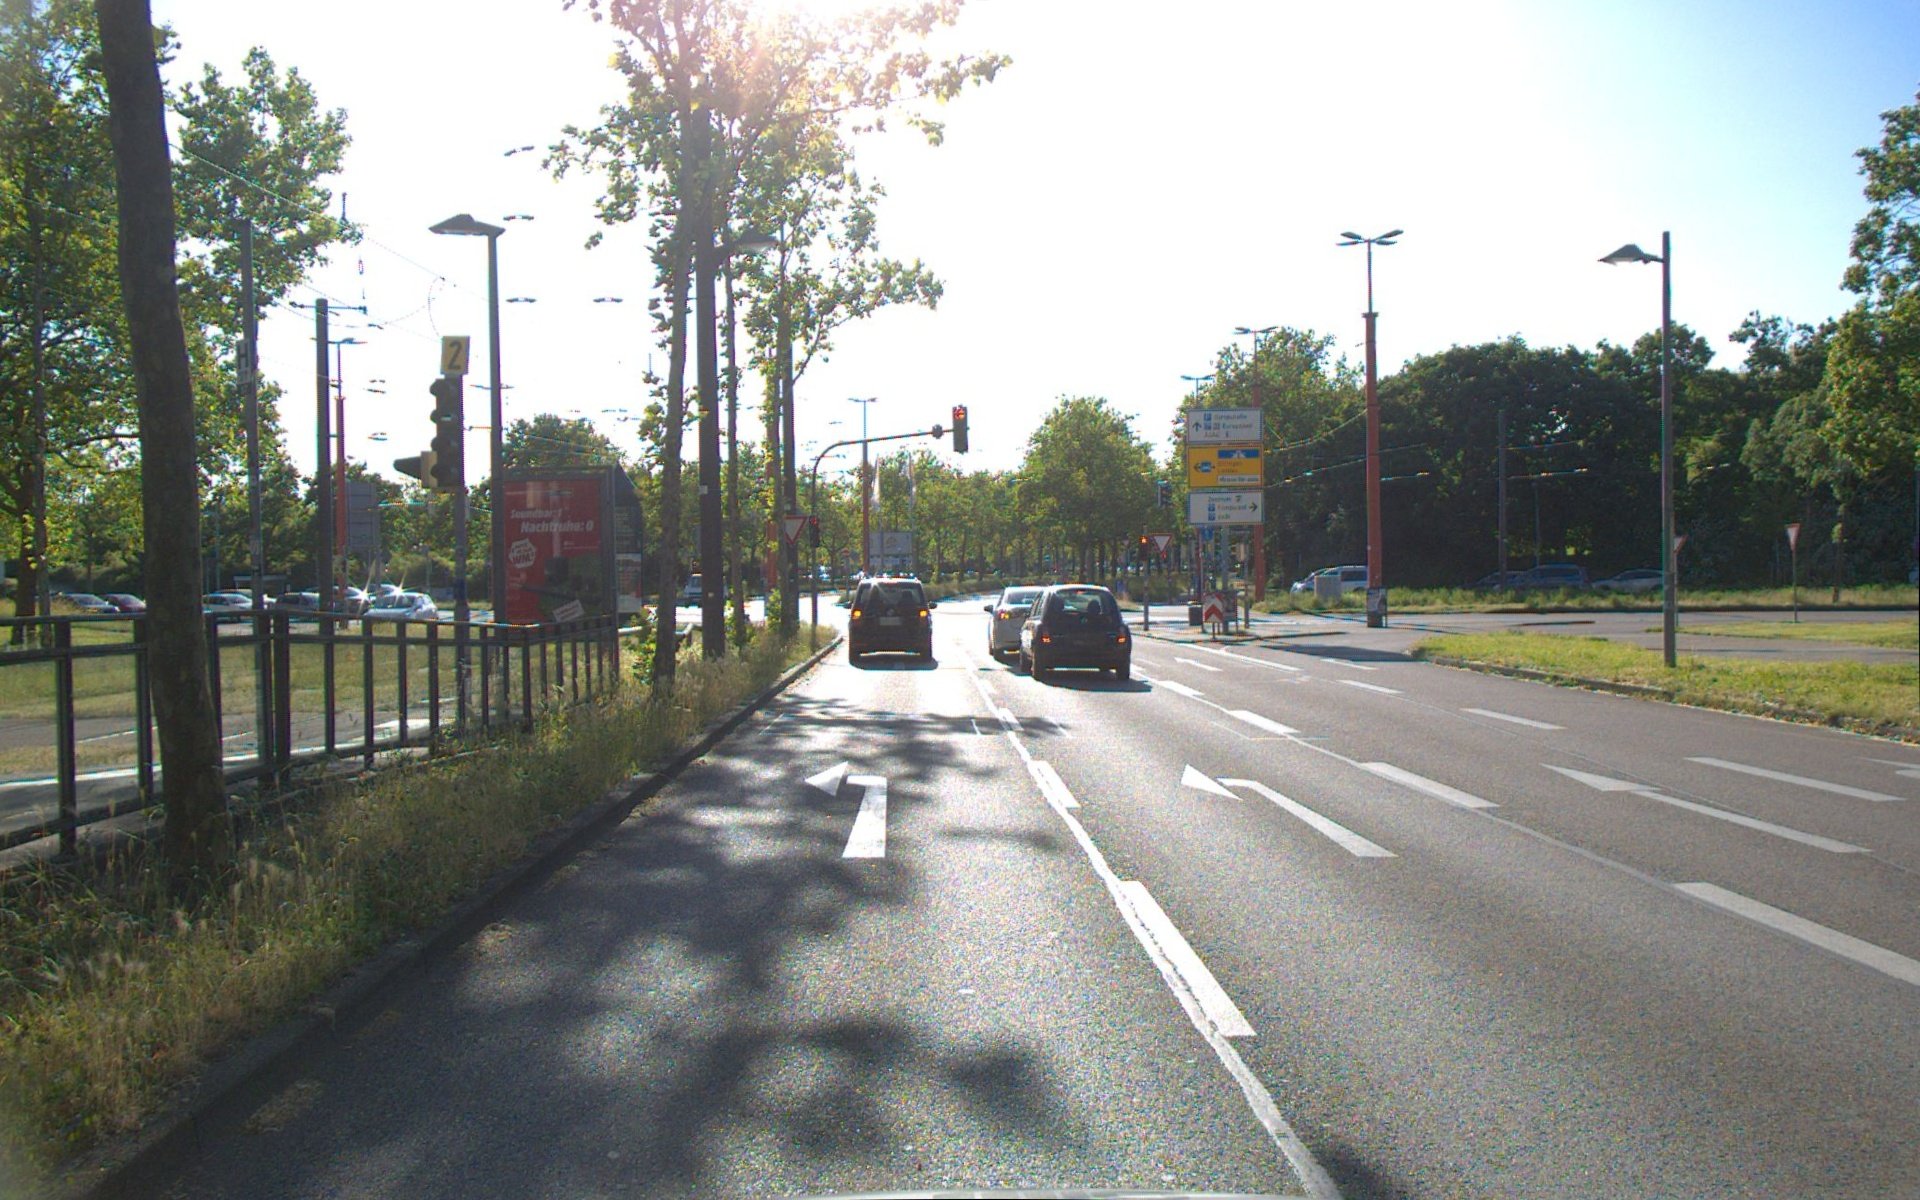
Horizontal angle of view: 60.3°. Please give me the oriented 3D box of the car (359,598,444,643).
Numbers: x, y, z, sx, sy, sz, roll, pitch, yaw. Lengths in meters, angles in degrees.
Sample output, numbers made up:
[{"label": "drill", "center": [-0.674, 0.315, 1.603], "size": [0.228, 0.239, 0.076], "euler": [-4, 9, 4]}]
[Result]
[{"label": "car", "center": [-18.952, 0.664, 56.280], "size": [1.598, 1.475, 3.719], "euler": [0, 0, 1]}]

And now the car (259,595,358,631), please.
[{"label": "car", "center": [-33.214, 0.681, 84.326], "size": [4.390, 1.638, 1.902], "euler": [-1, 3, 17]}]

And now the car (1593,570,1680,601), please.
[{"label": "car", "center": [33.271, -0.710, 81.367], "size": [3.907, 1.521, 1.860], "euler": [0, 0, 25]}]

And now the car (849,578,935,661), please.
[{"label": "car", "center": [-1.431, 0.380, 34.244], "size": [1.676, 1.631, 3.348], "euler": [1, 0, -3]}]

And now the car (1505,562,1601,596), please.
[{"label": "car", "center": [28.709, -1.001, 80.096], "size": [4.263, 1.586, 1.872], "euler": [0, 0, 23]}]

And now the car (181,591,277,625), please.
[{"label": "car", "center": [-38.250, 0.422, 86.544], "size": [4.390, 1.639, 1.902], "euler": [-1, 2, 17]}]

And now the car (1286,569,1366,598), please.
[{"label": "car", "center": [19.527, -0.880, 88.171], "size": [3.906, 1.502, 1.788], "euler": [0, 0, 23]}]

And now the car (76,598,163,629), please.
[{"label": "car", "center": [-45.348, 0.721, 89.279], "size": [3.949, 1.461, 1.817], "euler": [-1, 3, 17]}]

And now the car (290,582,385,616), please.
[{"label": "car", "center": [-32.984, -0.054, 87.677], "size": [4.390, 1.638, 1.902], "euler": [-1, 3, 17]}]

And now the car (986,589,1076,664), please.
[{"label": "car", "center": [1.444, 0.523, 35.008], "size": [1.644, 1.500, 4.129], "euler": [0, 0, -1]}]

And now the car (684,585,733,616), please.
[{"label": "car", "center": [-15.211, 0.050, 100.062], "size": [1.784, 1.811, 4.570], "euler": [0, 0, 7]}]

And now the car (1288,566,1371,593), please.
[{"label": "car", "center": [18.919, -1.038, 84.747], "size": [3.907, 1.361, 1.728], "euler": [0, 0, 24]}]

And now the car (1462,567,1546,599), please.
[{"label": "car", "center": [27.655, -0.855, 84.098], "size": [3.907, 1.588, 1.898], "euler": [0, 0, 24]}]

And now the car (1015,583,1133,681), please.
[{"label": "car", "center": [1.893, 0.499, 28.360], "size": [1.606, 1.520, 3.501], "euler": [0, 1, -3]}]
